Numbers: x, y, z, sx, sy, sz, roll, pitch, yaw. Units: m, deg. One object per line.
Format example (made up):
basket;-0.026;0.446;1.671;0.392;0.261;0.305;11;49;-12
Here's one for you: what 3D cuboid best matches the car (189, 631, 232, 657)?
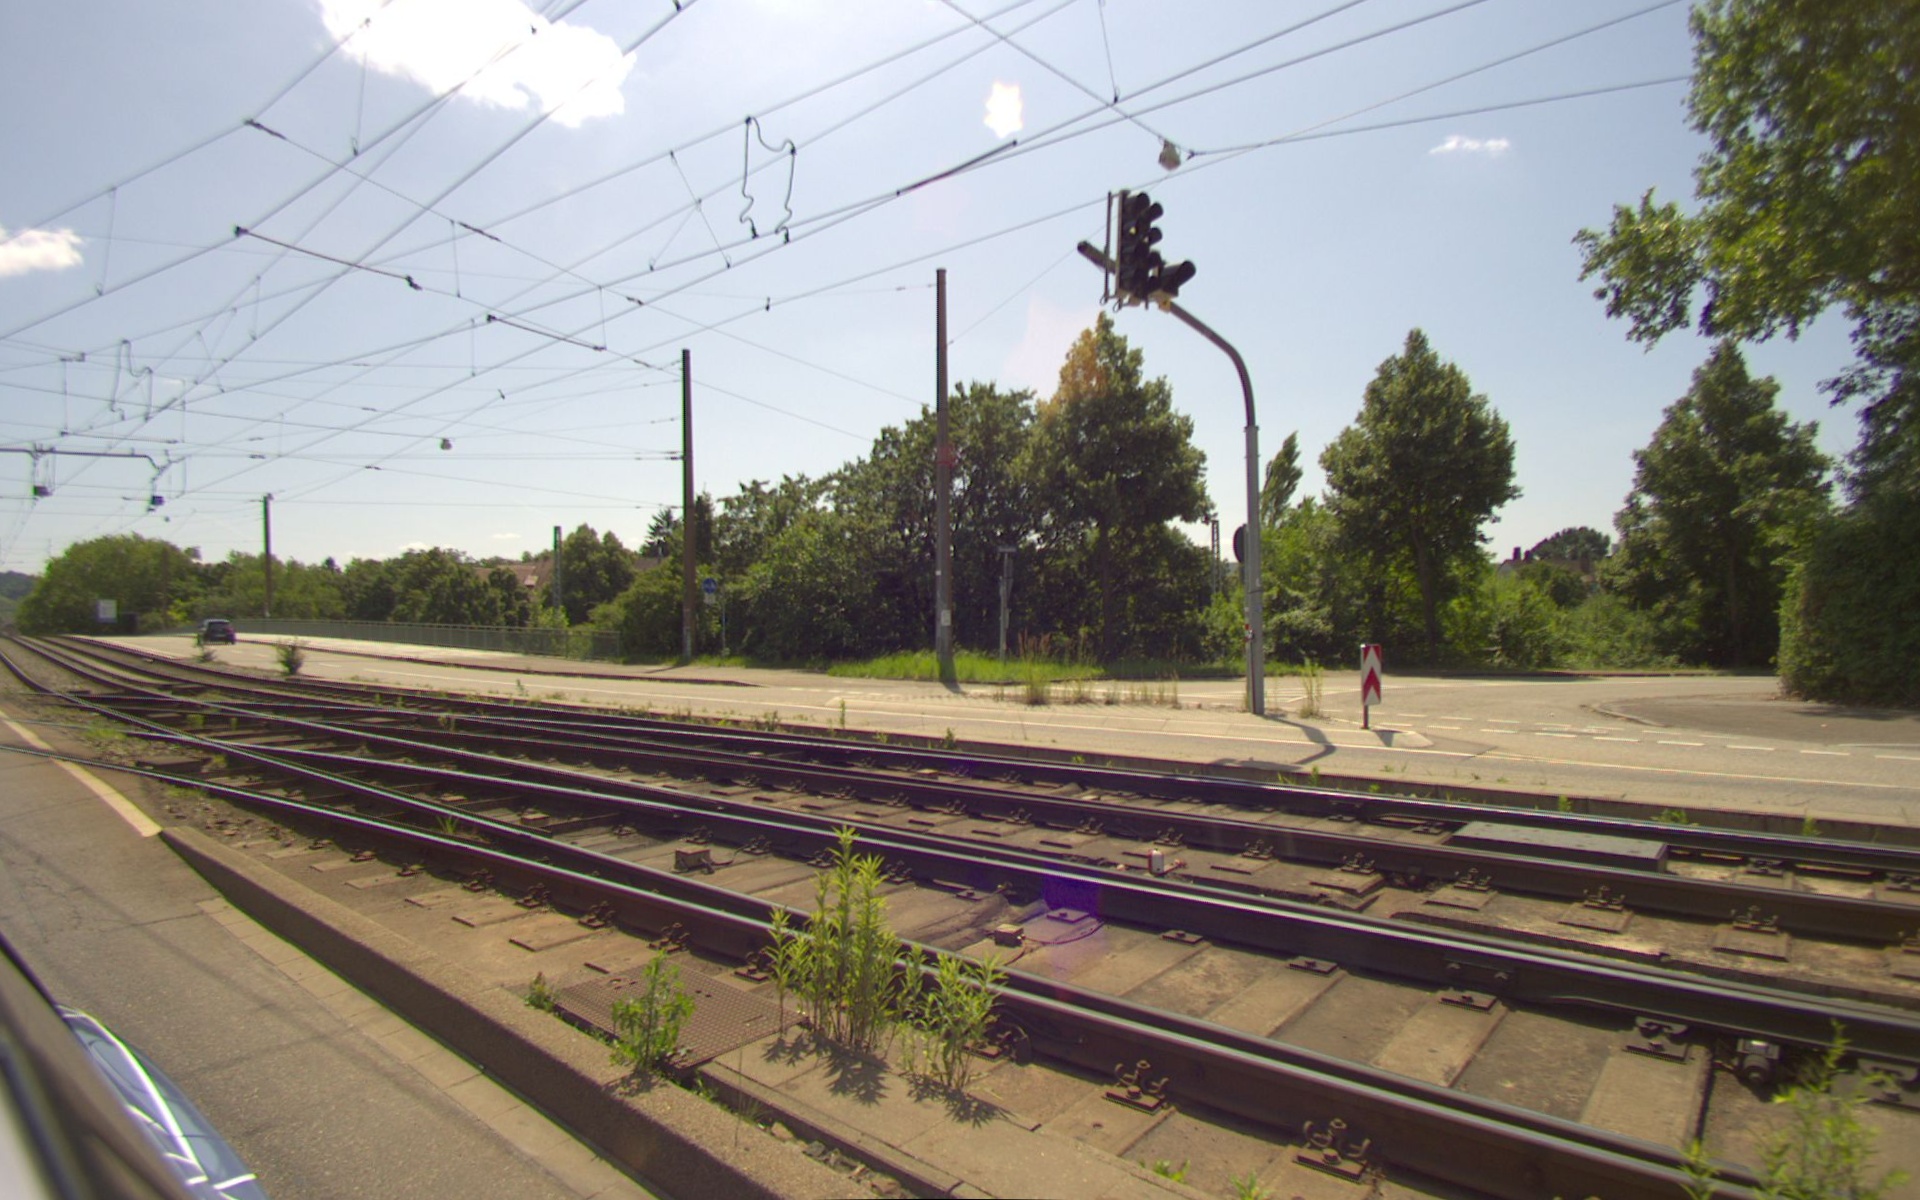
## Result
car;-46.829;2.737;63.201;1.685;1.521;3.735;1;-2;-44
